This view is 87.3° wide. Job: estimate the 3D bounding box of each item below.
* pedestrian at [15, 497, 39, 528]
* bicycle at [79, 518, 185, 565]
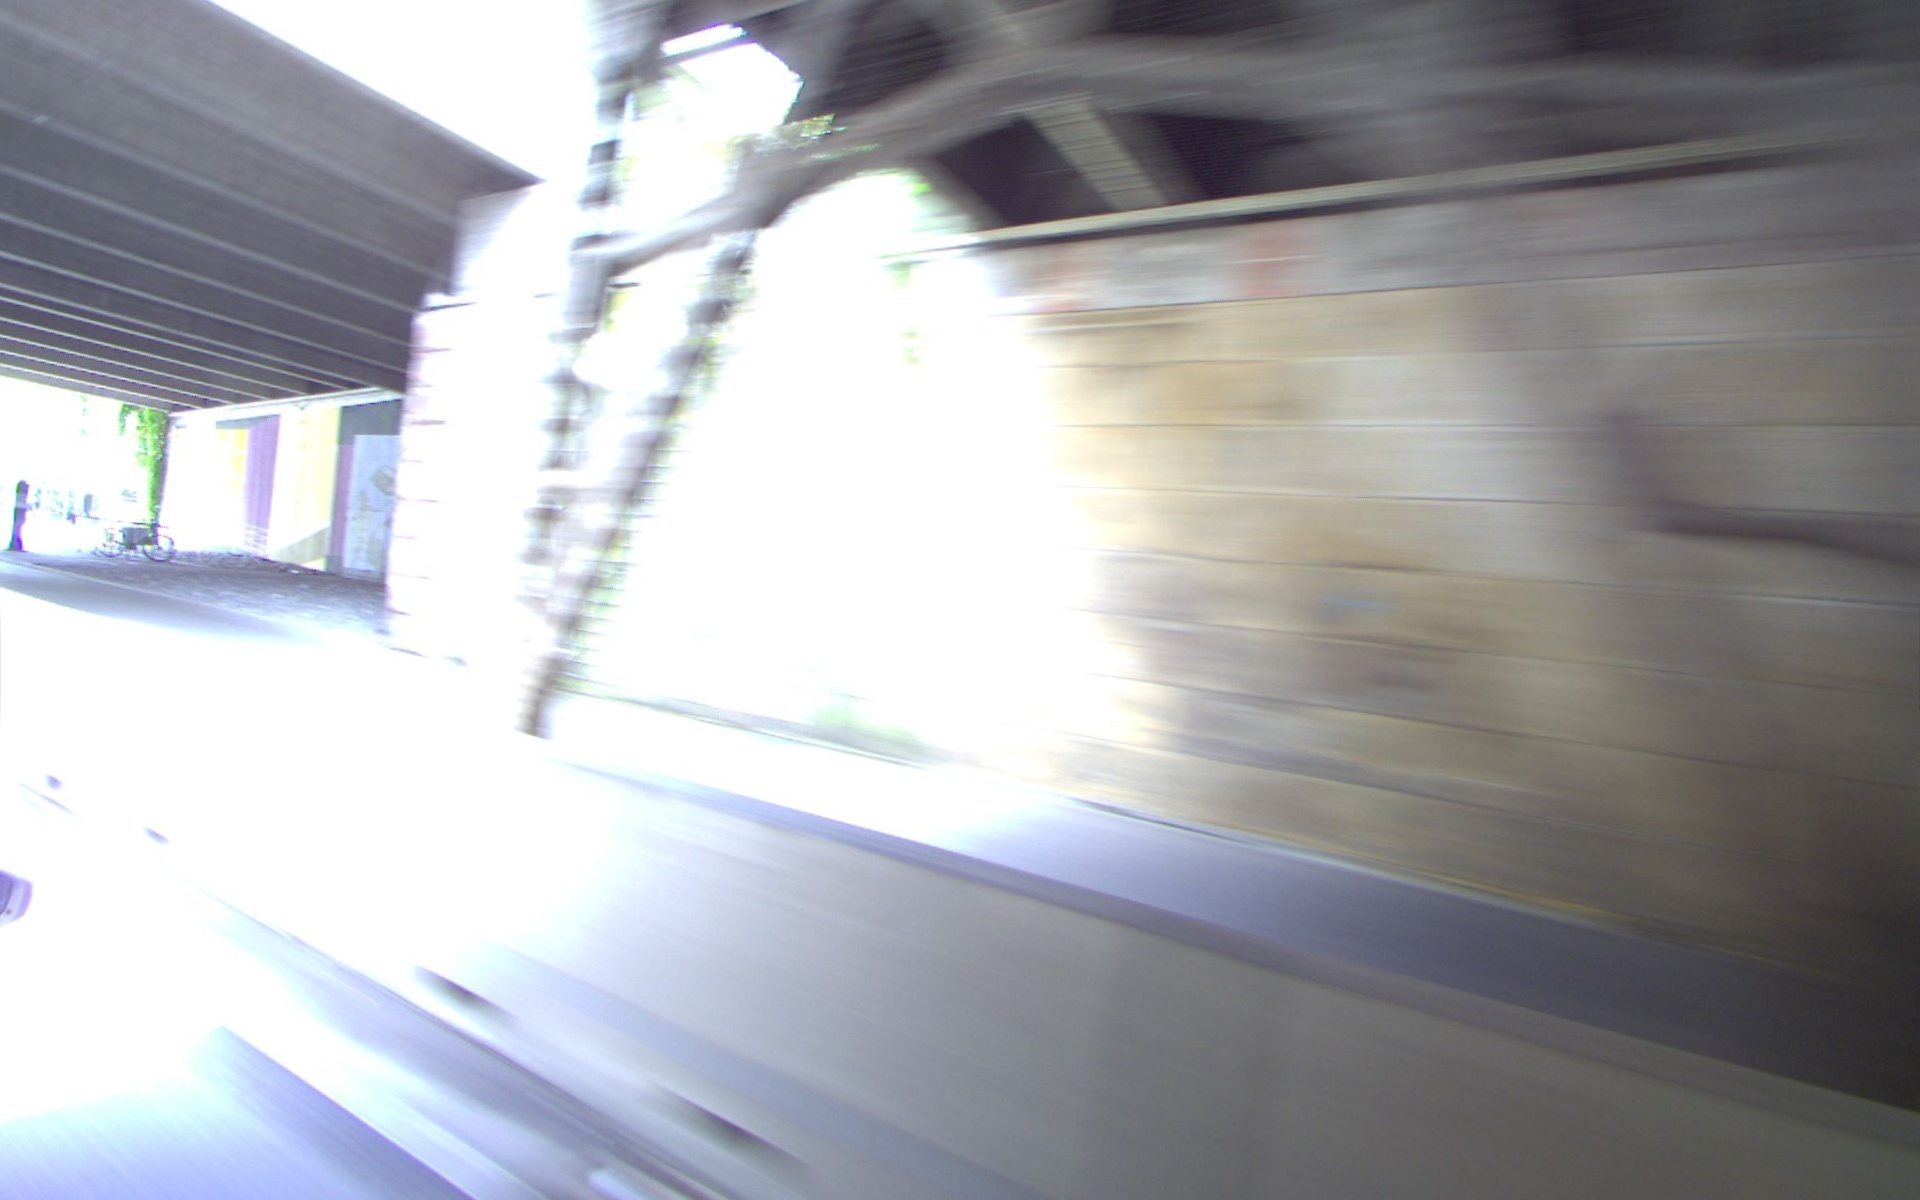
[{"bbox_3d":[-54.895,-5.162,59.193,0.605,1.695,0.698,7,0,10],"label":"pedestrian"},{"bbox_3d":[-20.452,-1.430,24.891,0.498,0.916,1.947,6,0,30],"label":"bicycle"}]
